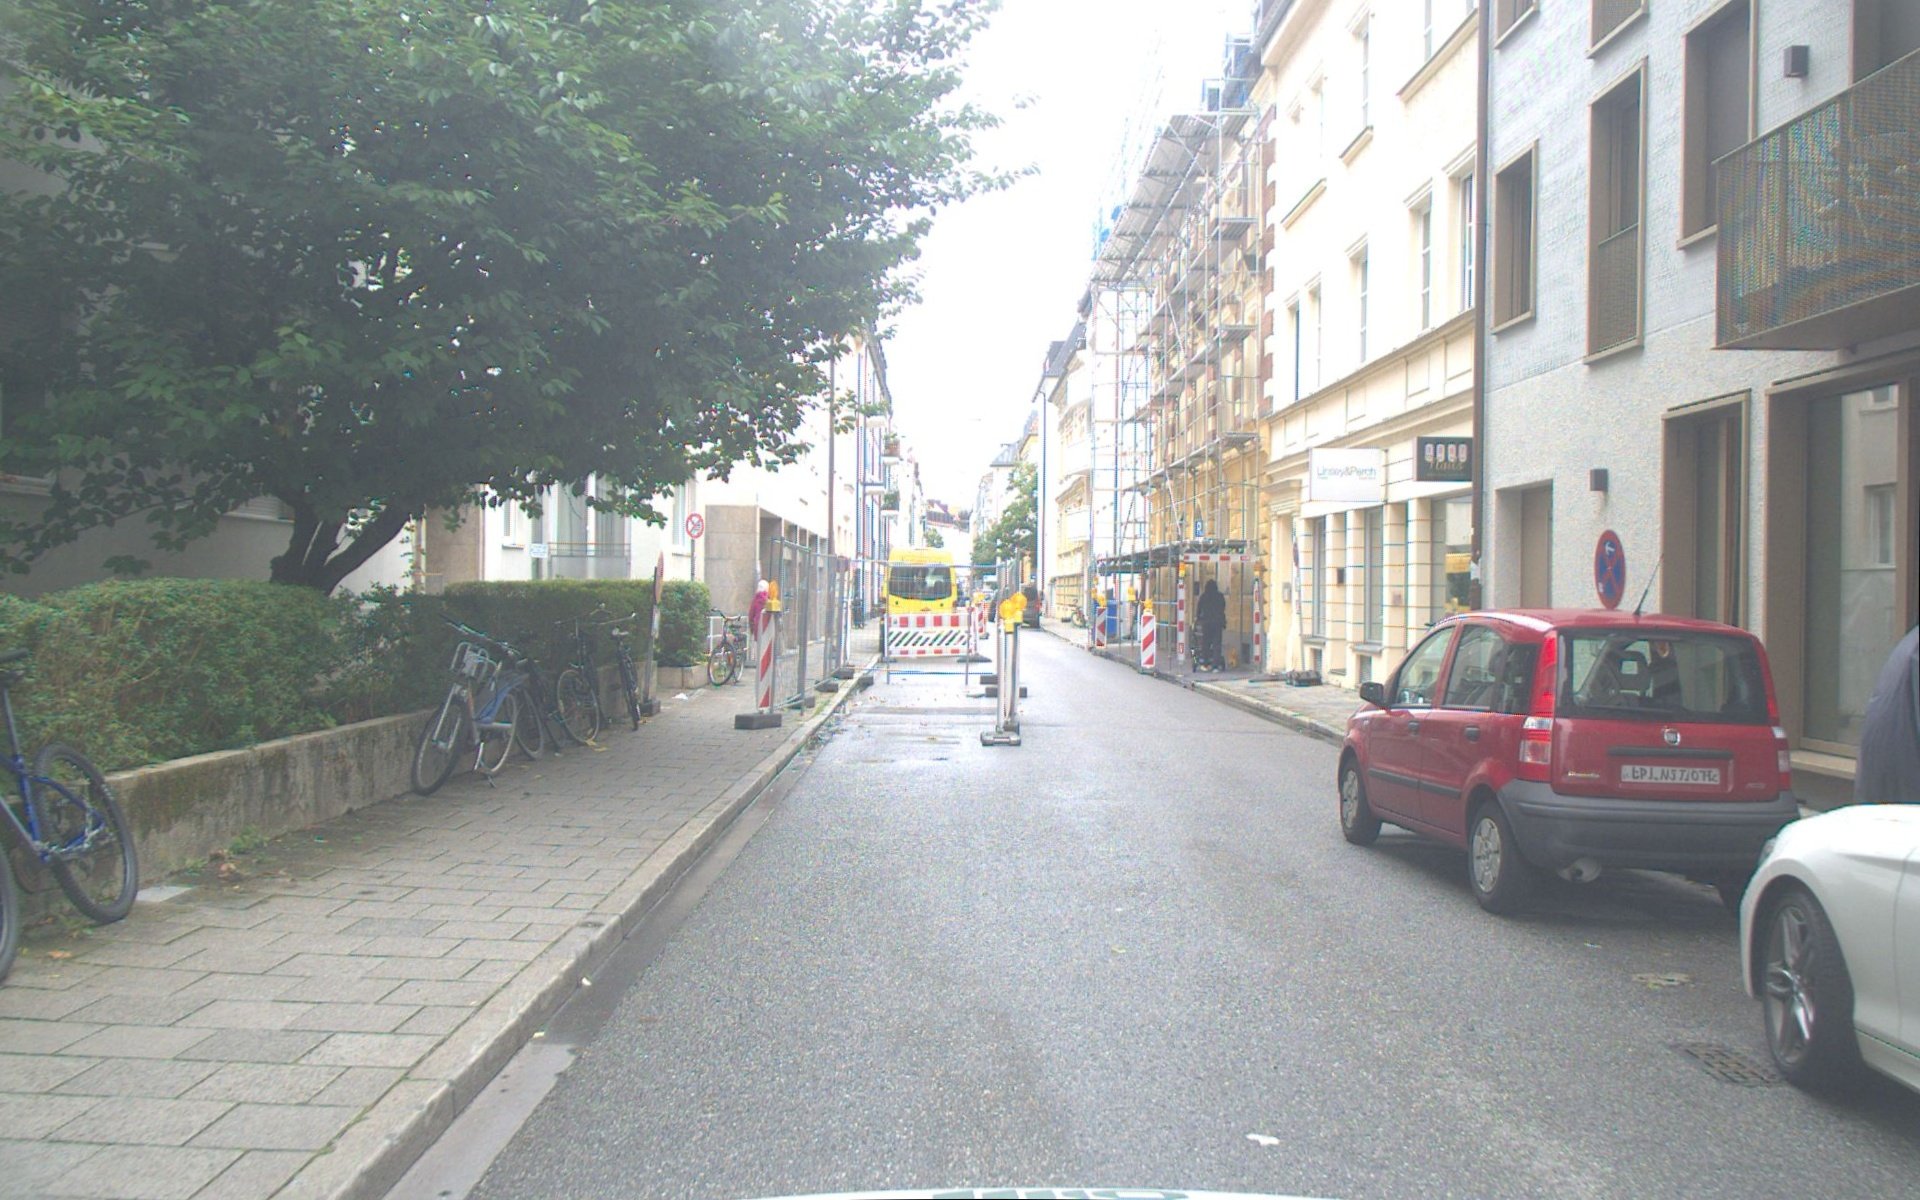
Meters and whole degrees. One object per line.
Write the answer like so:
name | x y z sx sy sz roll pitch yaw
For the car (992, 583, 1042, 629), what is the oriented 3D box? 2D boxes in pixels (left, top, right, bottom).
car | 2.599 0.255 75.902 1.953 1.965 4.658 2 0 -2

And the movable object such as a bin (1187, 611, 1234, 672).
movable object such as a bin | 5.043 0.820 33.375 0.715 1.160 0.988 -4 0 -2

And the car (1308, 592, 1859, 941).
car | 3.339 0.769 9.758 1.735 1.550 4.067 2 0 1

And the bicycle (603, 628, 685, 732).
bicycle | -3.296 0.808 17.357 0.434 0.995 1.816 4 -1 1

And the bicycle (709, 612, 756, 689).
bicycle | -3.466 0.756 25.295 0.369 1.081 1.597 6 0 0

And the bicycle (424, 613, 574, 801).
bicycle | -3.157 0.697 11.467 0.478 1.171 1.699 4 -1 1

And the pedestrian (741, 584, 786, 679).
pedestrian | -3.276 0.513 27.621 0.625 1.558 0.747 -1 0 1

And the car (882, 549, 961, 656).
car | -1.024 0.040 43.874 1.953 2.624 6.735 0 0 -1

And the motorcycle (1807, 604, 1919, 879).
motorcycle | 5.546 0.765 9.046 0.788 1.448 1.932 -2 0 0

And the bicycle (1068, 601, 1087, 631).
bicycle | 4.900 0.647 69.035 0.625 1.173 1.915 -2 1 0

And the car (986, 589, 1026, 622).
car | 2.346 0.275 85.725 1.855 1.670 4.320 0 0 -2

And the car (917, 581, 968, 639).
car | -0.631 0.322 58.930 1.692 1.930 5.507 -1 0 -1

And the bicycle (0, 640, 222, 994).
bicycle | -3.279 0.730 6.007 0.340 1.090 1.780 4 0 -1

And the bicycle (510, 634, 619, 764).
bicycle | -3.304 0.800 13.930 0.427 0.995 1.699 4 -1 1

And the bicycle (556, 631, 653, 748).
bicycle | -3.300 0.802 15.491 0.434 0.995 1.853 4 -1 1

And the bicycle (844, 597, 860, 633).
bicycle | -3.828 0.511 58.688 0.374 1.209 2.132 2 1 -8

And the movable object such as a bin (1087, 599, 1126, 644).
movable object such as a bin | 4.735 0.680 53.517 1.063 1.370 1.318 -2 0 11

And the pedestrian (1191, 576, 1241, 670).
pedestrian | 5.049 0.451 32.636 0.715 1.783 0.988 -3 0 -2

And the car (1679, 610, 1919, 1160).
car | 3.506 0.826 3.881 1.732 1.486 4.380 2 0 1
